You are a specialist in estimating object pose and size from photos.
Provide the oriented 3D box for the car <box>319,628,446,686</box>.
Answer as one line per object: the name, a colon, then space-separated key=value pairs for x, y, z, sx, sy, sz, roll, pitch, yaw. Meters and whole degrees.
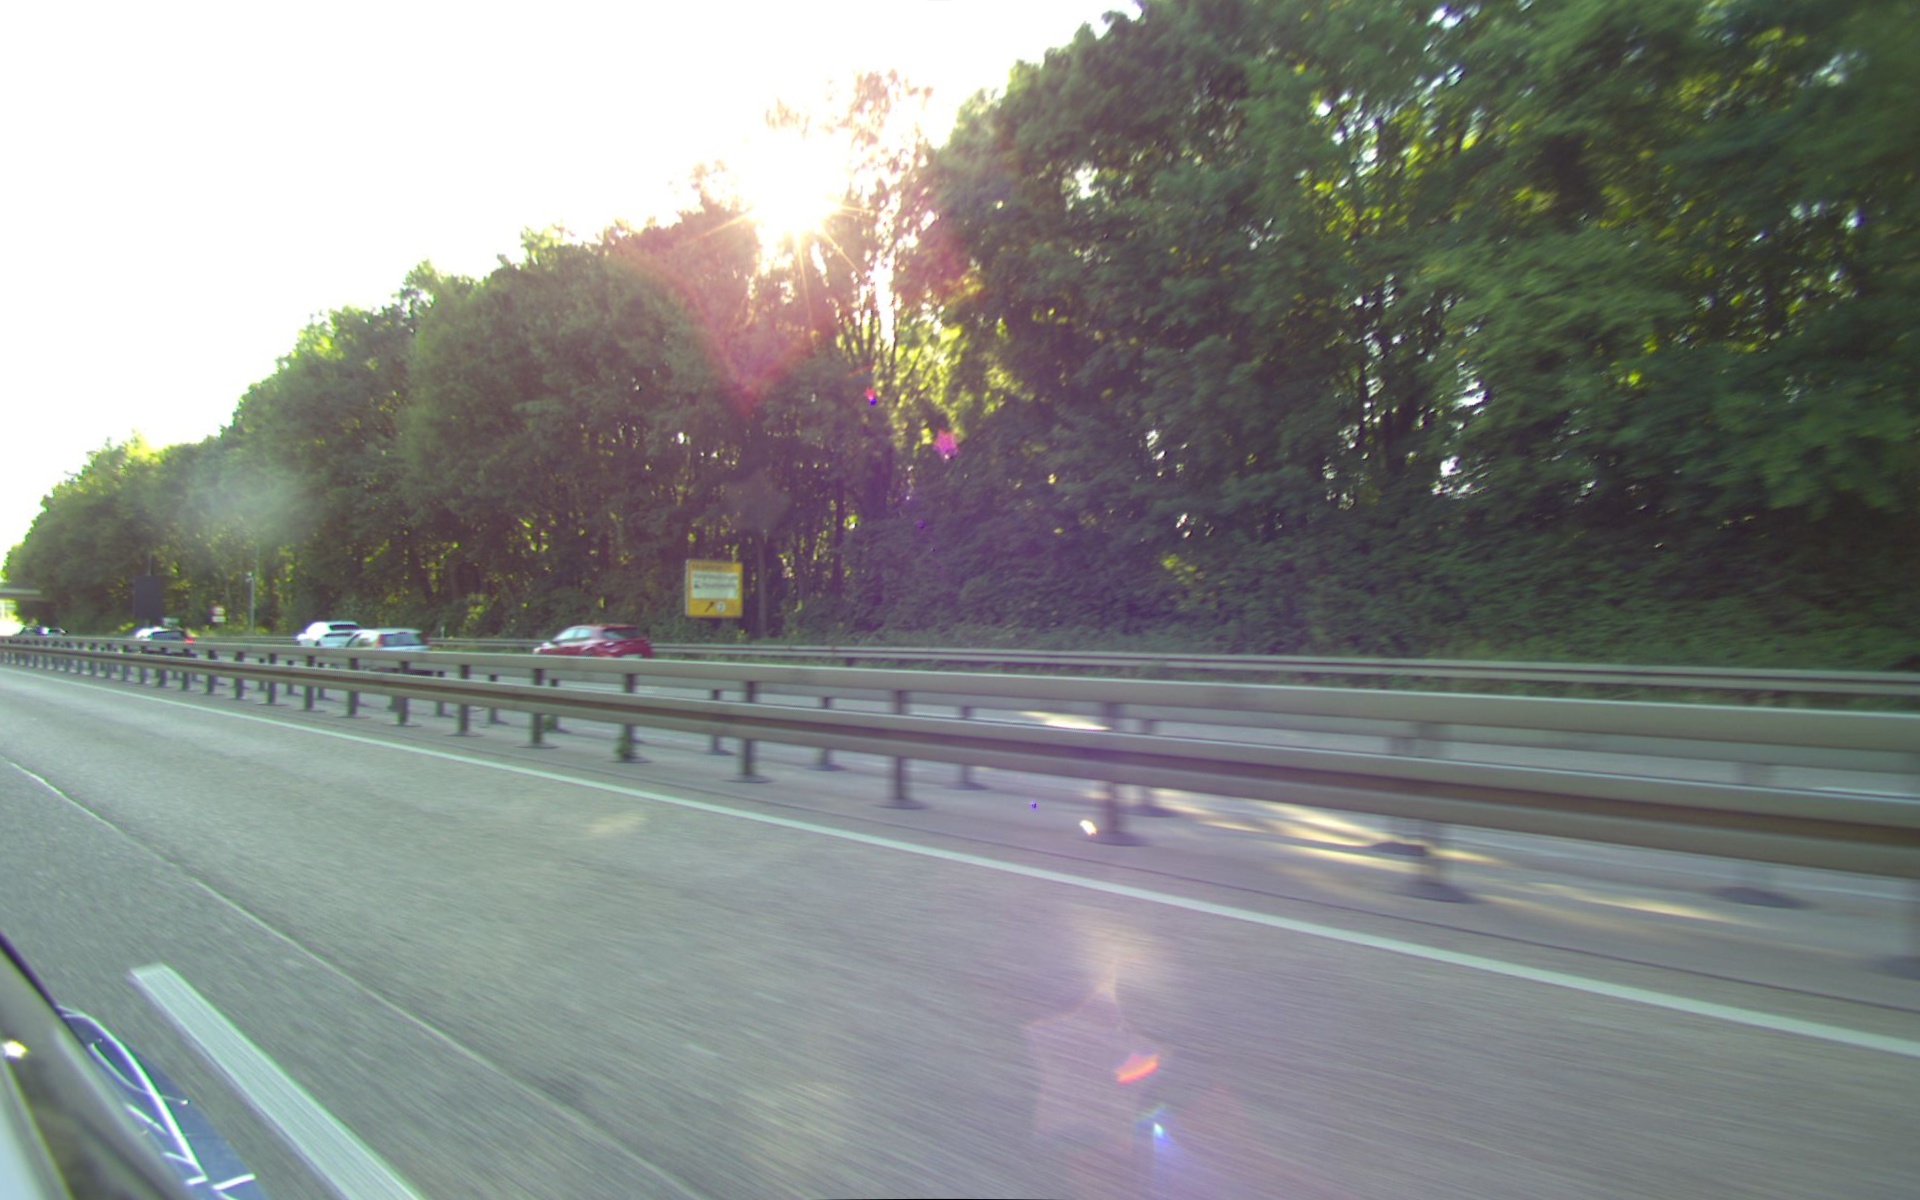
car: x=-16.021 y=1.531 z=27.989 sx=4.094 sy=1.383 sz=1.707 roll=1 pitch=-2 yaw=40

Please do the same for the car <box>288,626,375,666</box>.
car: x=-27.204 y=1.941 z=43.742 sx=4.790 sy=1.635 sz=1.971 roll=-1 pitch=-3 yaw=43

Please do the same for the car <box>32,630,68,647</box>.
car: x=-89.760 y=3.748 z=99.779 sx=4.703 sy=1.612 sz=1.973 roll=-1 pitch=-3 yaw=40

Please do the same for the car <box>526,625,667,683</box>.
car: x=-10.047 y=1.443 z=27.877 sx=3.999 sy=1.475 sz=1.972 roll=-1 pitch=-3 yaw=42

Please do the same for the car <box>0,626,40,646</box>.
car: x=-82.621 y=3.138 z=88.933 sx=4.904 sy=1.712 sz=1.973 roll=-1 pitch=-3 yaw=40

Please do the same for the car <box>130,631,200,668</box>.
car: x=-34.051 y=2.102 z=43.300 sx=4.096 sy=1.479 sz=1.705 roll=-1 pitch=-3 yaw=43
